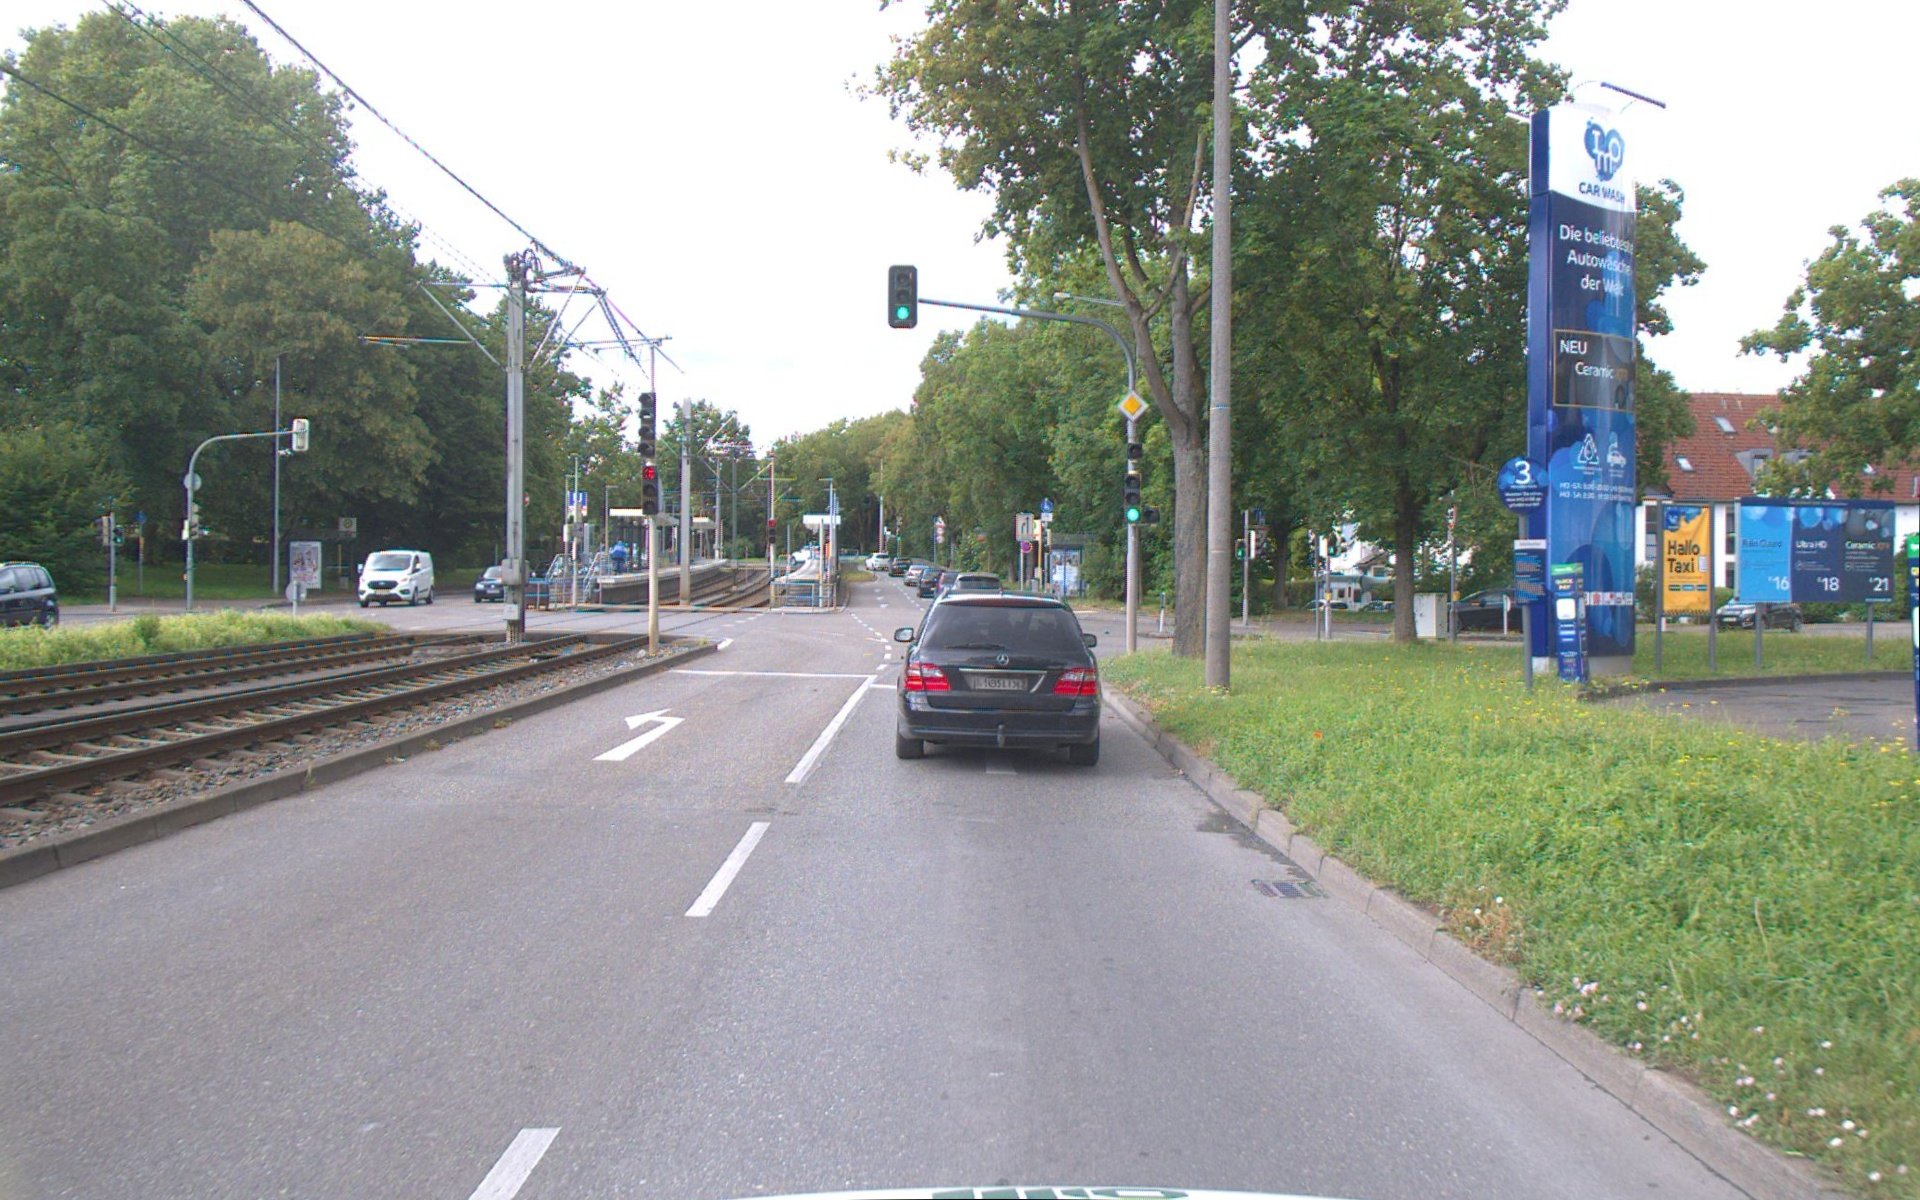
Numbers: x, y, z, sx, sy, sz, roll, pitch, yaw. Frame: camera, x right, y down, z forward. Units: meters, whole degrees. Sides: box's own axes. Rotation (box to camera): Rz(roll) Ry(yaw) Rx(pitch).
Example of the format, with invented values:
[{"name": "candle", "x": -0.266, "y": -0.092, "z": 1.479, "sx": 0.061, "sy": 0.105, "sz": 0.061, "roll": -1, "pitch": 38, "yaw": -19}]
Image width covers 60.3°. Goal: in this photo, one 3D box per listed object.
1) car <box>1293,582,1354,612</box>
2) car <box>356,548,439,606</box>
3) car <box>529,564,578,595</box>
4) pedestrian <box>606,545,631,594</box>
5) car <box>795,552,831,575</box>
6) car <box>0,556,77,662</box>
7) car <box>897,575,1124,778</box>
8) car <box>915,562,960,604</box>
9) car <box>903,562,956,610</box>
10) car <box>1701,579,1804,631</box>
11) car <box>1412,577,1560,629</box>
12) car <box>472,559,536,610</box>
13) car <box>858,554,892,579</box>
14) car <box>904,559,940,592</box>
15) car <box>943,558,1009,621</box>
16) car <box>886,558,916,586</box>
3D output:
[{"name": "car", "x": 18.445, "y": -0.176, "z": 84.150, "sx": 1.453, "sy": 1.410, "sz": 3.826, "roll": 3, "pitch": 0, "yaw": -14}, {"name": "car", "x": -20.877, "y": -0.853, "z": 61.592, "sx": 1.956, "sy": 2.049, "sz": 4.878, "roll": 0, "pitch": 0, "yaw": -7}, {"name": "car", "x": -23.618, "y": -1.205, "z": 96.185, "sx": 1.955, "sy": 1.507, "sz": 4.503, "roll": 5, "pitch": 1, "yaw": -5}, {"name": "pedestrian", "x": -15.454, "y": -1.376, "z": 74.851, "sx": 0.950, "sy": 2.224, "sz": 0.975, "roll": 1, "pitch": 1, "yaw": -3}, {"name": "car", "x": -13.740, "y": -3.394, "z": 154.619, "sx": 1.970, "sy": 2.049, "sz": 3.965, "roll": 3, "pitch": 0, "yaw": -27}, {"name": "car", "x": -19.740, "y": 0.171, "z": 33.366, "sx": 1.955, "sy": 2.049, "sz": 4.102, "roll": 0, "pitch": 0, "yaw": -5}, {"name": "car", "x": 0.328, "y": 0.596, "z": 15.222, "sx": 1.746, "sy": 1.552, "sz": 3.998, "roll": 2, "pitch": 0, "yaw": -2}, {"name": "car", "x": -1.150, "y": -0.833, "z": 83.290, "sx": 1.955, "sy": 1.951, "sz": 3.996, "roll": 3, "pitch": 0, "yaw": -5}, {"name": "car", "x": -1.127, "y": -0.531, "z": 62.562, "sx": 1.745, "sy": 1.677, "sz": 4.001, "roll": 3, "pitch": 0, "yaw": 2}, {"name": "car", "x": 30.342, "y": 0.209, "z": 63.315, "sx": 3.958, "sy": 1.796, "sz": 1.973, "roll": 3, "pitch": 0, "yaw": -38}, {"name": "car", "x": 16.081, "y": 0.086, "z": 50.703, "sx": 4.065, "sy": 1.552, "sz": 1.705, "roll": 0, "pitch": 0, "yaw": 4}, {"name": "car", "x": -18.201, "y": -0.611, "z": 66.135, "sx": 1.664, "sy": 1.893, "sz": 3.996, "roll": 3, "pitch": 0, "yaw": -5}, {"name": "car", "x": -7.308, "y": -2.876, "z": 142.240, "sx": 1.962, "sy": 2.049, "sz": 3.981, "roll": 3, "pitch": 0, "yaw": -17}, {"name": "car", "x": -2.425, "y": -1.522, "z": 104.556, "sx": 1.955, "sy": 1.925, "sz": 3.996, "roll": 3, "pitch": 0, "yaw": -5}, {"name": "car", "x": 0.502, "y": -0.297, "z": 47.891, "sx": 1.745, "sy": 1.677, "sz": 4.001, "roll": 3, "pitch": 0, "yaw": 2}, {"name": "car", "x": -4.492, "y": -2.118, "z": 125.344, "sx": 1.955, "sy": 2.000, "sz": 3.996, "roll": 3, "pitch": 0, "yaw": -5}]
